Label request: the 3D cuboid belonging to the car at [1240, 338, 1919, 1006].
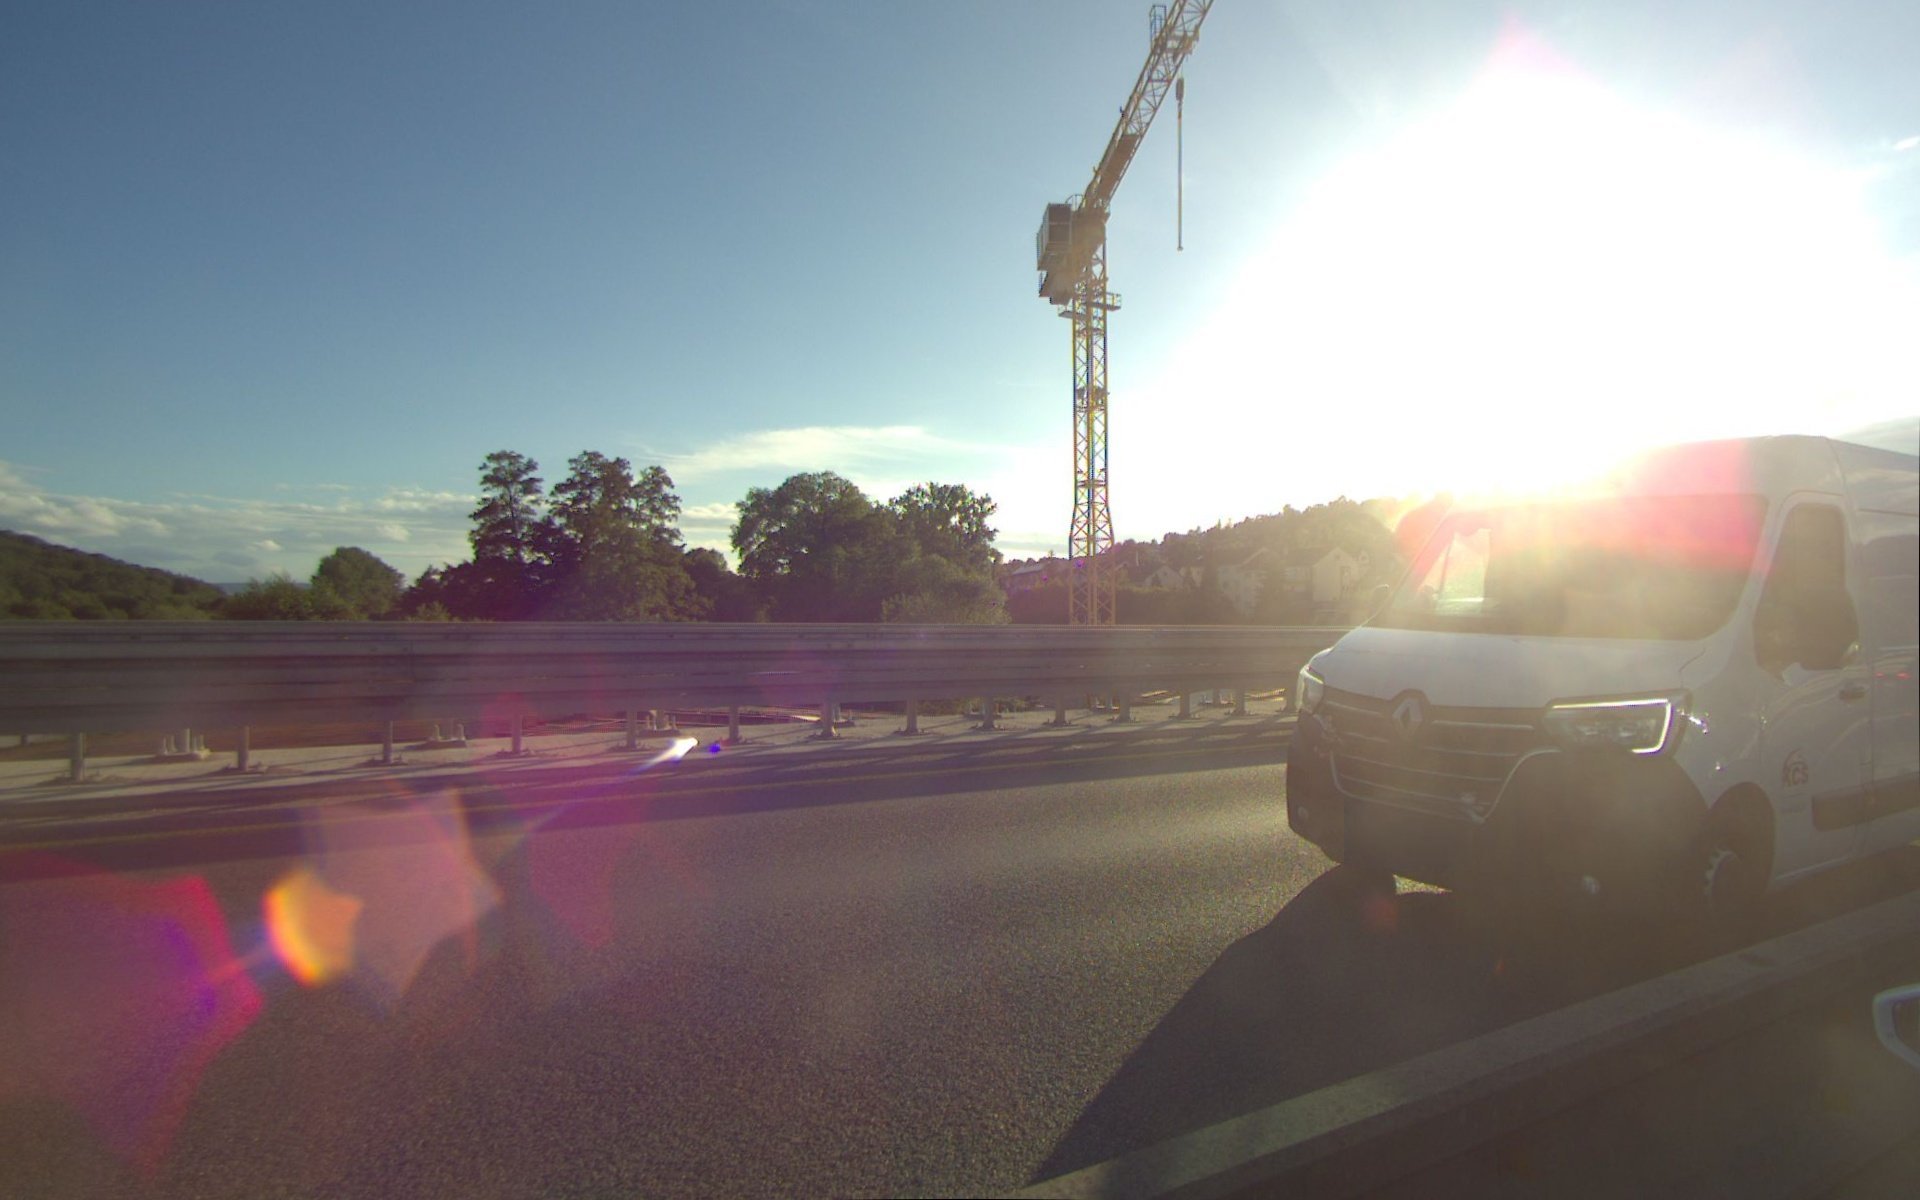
[{"bbox_3d":[4.739,0.304,6.234,6.194,2.491,2.063,1,1,-31],"label":"car"}]
